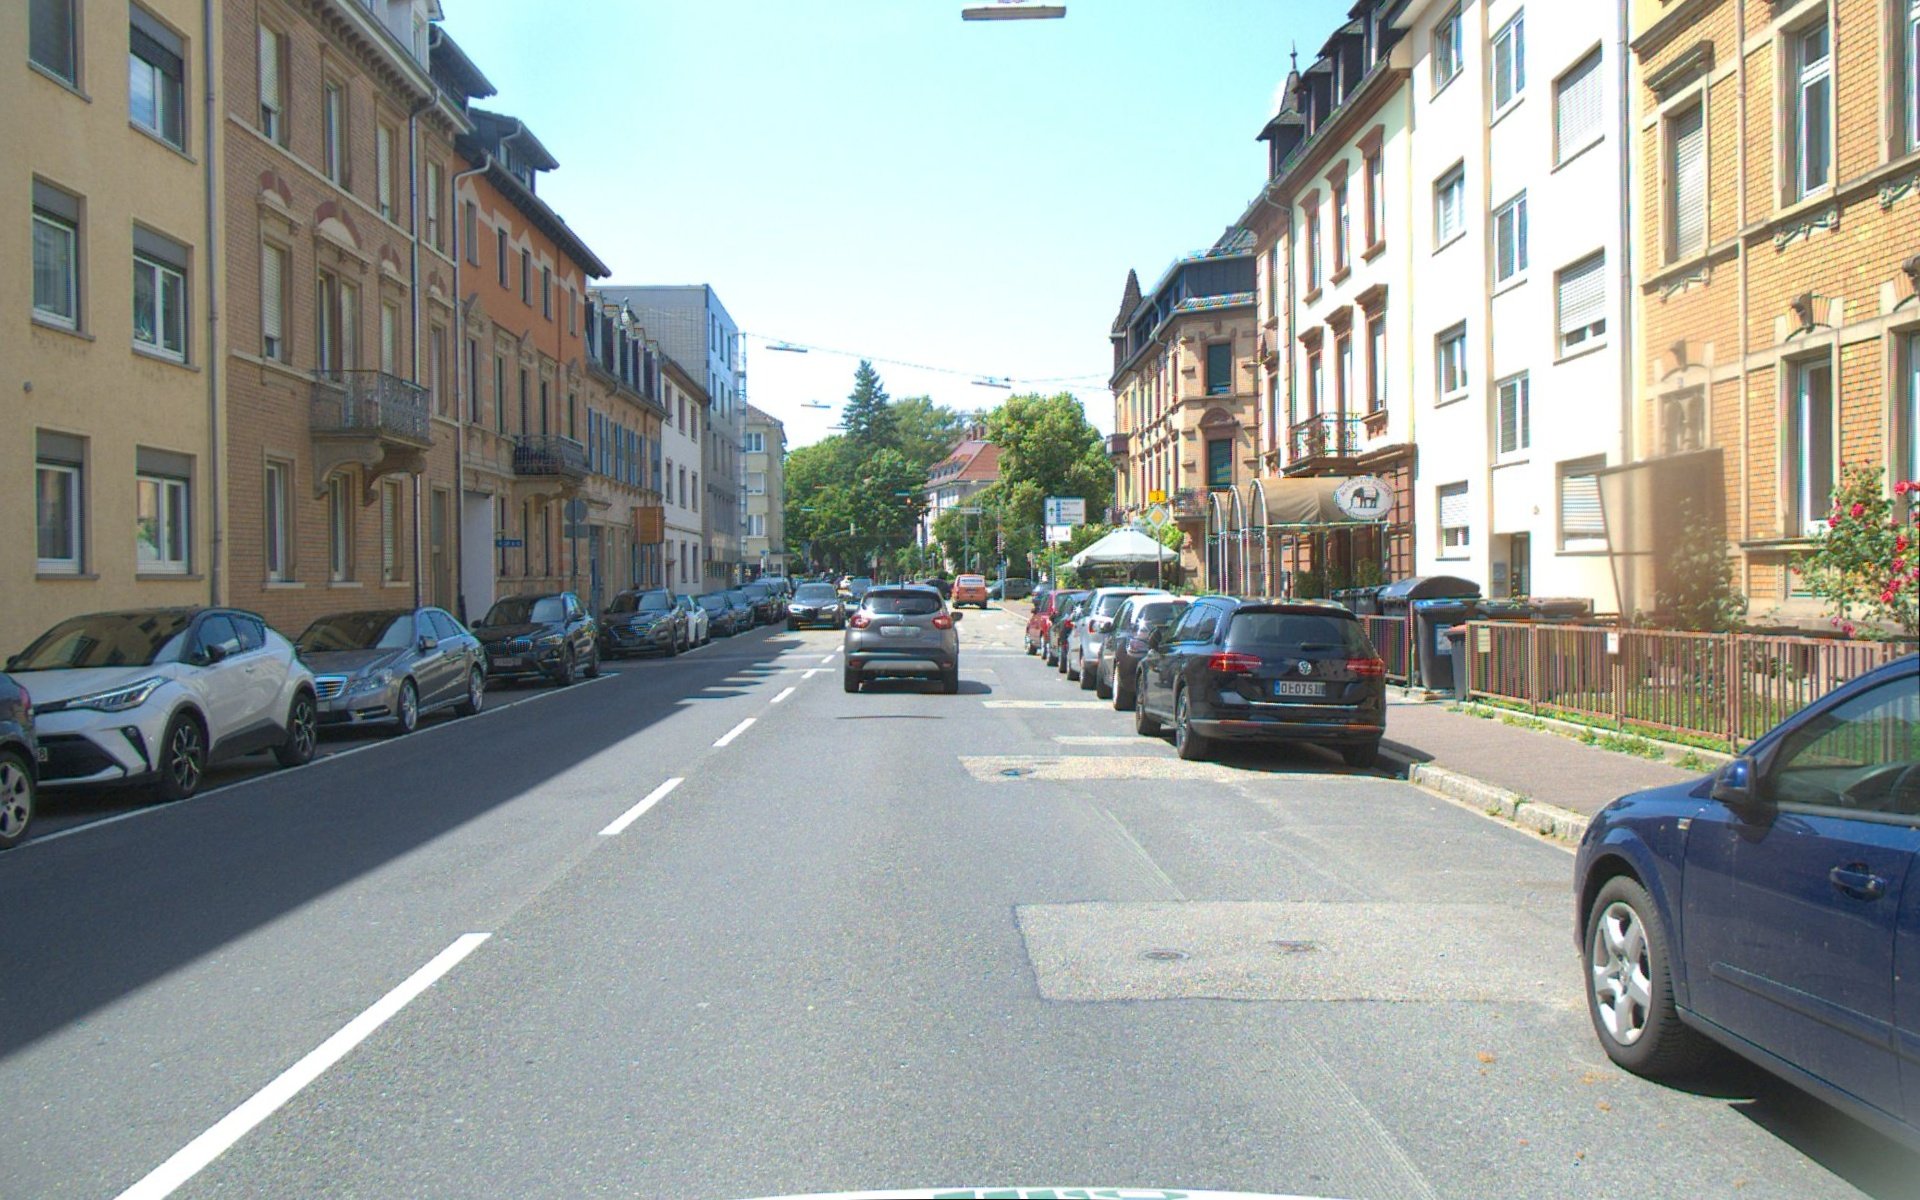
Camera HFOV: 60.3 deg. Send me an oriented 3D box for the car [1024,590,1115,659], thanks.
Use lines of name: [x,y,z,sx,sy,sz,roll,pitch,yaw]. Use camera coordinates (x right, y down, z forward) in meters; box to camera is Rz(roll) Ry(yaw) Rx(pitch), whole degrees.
car: [2.433,0.521,37.487,1.580,1.468,3.434,0,0,-5]

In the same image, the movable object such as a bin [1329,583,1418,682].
movable object such as a bin: [6.170,0.470,24.756,1.021,1.426,1.254,0,0,0]

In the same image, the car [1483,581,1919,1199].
car: [2.989,0.724,4.222,1.661,1.513,4.616,1,0,-2]

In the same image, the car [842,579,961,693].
car: [-0.918,0.500,25.977,1.709,1.644,3.998,0,0,-2]

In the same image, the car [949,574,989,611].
car: [0.501,-0.444,94.860,1.954,2.049,4.463,-2,0,-3]

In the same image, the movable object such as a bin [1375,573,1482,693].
movable object such as a bin: [6.241,0.417,22.129,1.021,1.544,1.446,0,0,0]

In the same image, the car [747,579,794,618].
car: [-9.301,-0.091,81.488,1.866,1.853,4.302,-1,0,-1]

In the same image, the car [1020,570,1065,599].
car: [4.610,-0.851,91.990,1.857,1.534,3.946,-1,0,12]

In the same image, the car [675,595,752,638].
car: [-8.154,0.514,54.994,1.865,1.314,4.302,-1,0,0]

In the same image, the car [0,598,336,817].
car: [-7.068,0.802,14.192,1.867,1.536,4.300,-3,0,-2]

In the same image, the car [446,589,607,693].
car: [-7.694,0.676,29.766,1.867,1.648,4.300,-3,0,-3]

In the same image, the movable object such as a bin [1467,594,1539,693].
movable object such as a bin: [6.815,0.536,20.793,0.625,1.207,0.852,0,0,1]

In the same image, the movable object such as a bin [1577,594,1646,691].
movable object such as a bin: [8.200,0.530,20.831,0.625,1.197,0.626,0,0,0]

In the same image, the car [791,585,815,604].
car: [-13.500,-0.477,142.353,1.754,1.654,3.743,-1,1,0]

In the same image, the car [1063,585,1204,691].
car: [2.764,0.562,27.156,1.822,1.580,3.999,1,0,-1]

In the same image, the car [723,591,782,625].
car: [-8.414,0.306,67.325,1.866,1.314,4.302,-1,0,-1]

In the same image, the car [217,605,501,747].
car: [-7.270,0.843,20.583,1.866,1.425,4.753,-3,0,-2]

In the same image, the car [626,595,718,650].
car: [-8.122,0.613,46.967,1.866,1.380,4.301,-3,0,-1]

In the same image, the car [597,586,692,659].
car: [-7.848,0.534,41.460,1.868,1.648,4.297,-3,0,-6]

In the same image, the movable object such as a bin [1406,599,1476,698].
movable object such as a bin: [6.020,0.597,20.731,0.625,1.197,0.911,0,0,1]

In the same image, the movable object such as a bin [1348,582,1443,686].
movable object such as a bin: [6.165,0.468,23.499,1.021,1.426,1.254,0,0,0]

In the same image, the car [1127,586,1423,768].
car: [2.878,0.628,16.158,1.823,1.490,4.616,1,0,-2]

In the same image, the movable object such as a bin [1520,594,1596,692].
movable object such as a bin: [7.514,0.533,20.806,0.654,1.197,0.852,0,0,1]

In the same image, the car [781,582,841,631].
car: [-5.324,0.211,59.647,1.900,1.654,3.998,-2,0,-3]

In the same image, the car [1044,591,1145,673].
car: [2.533,0.572,31.780,1.579,1.487,3.504,0,0,-1]

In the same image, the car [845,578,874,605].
car: [-6.364,-0.537,104.577,1.755,1.654,3.740,-1,1,-5]

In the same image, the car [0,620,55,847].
car: [-6.908,0.891,8.895,1.866,1.403,4.060,-3,0,-1]

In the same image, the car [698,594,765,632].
car: [-8.357,0.447,60.836,1.866,1.314,4.302,-1,0,0]

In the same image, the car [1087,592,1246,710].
car: [2.768,0.634,22.906,1.626,1.466,3.999,1,0,-1]

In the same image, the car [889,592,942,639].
car: [-1.716,0.551,62.534,1.776,1.649,4.438,-2,0,-4]

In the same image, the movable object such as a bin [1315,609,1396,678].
movable object such as a bin: [6.178,0.665,25.892,1.021,1.040,0.991,0,0,0]
